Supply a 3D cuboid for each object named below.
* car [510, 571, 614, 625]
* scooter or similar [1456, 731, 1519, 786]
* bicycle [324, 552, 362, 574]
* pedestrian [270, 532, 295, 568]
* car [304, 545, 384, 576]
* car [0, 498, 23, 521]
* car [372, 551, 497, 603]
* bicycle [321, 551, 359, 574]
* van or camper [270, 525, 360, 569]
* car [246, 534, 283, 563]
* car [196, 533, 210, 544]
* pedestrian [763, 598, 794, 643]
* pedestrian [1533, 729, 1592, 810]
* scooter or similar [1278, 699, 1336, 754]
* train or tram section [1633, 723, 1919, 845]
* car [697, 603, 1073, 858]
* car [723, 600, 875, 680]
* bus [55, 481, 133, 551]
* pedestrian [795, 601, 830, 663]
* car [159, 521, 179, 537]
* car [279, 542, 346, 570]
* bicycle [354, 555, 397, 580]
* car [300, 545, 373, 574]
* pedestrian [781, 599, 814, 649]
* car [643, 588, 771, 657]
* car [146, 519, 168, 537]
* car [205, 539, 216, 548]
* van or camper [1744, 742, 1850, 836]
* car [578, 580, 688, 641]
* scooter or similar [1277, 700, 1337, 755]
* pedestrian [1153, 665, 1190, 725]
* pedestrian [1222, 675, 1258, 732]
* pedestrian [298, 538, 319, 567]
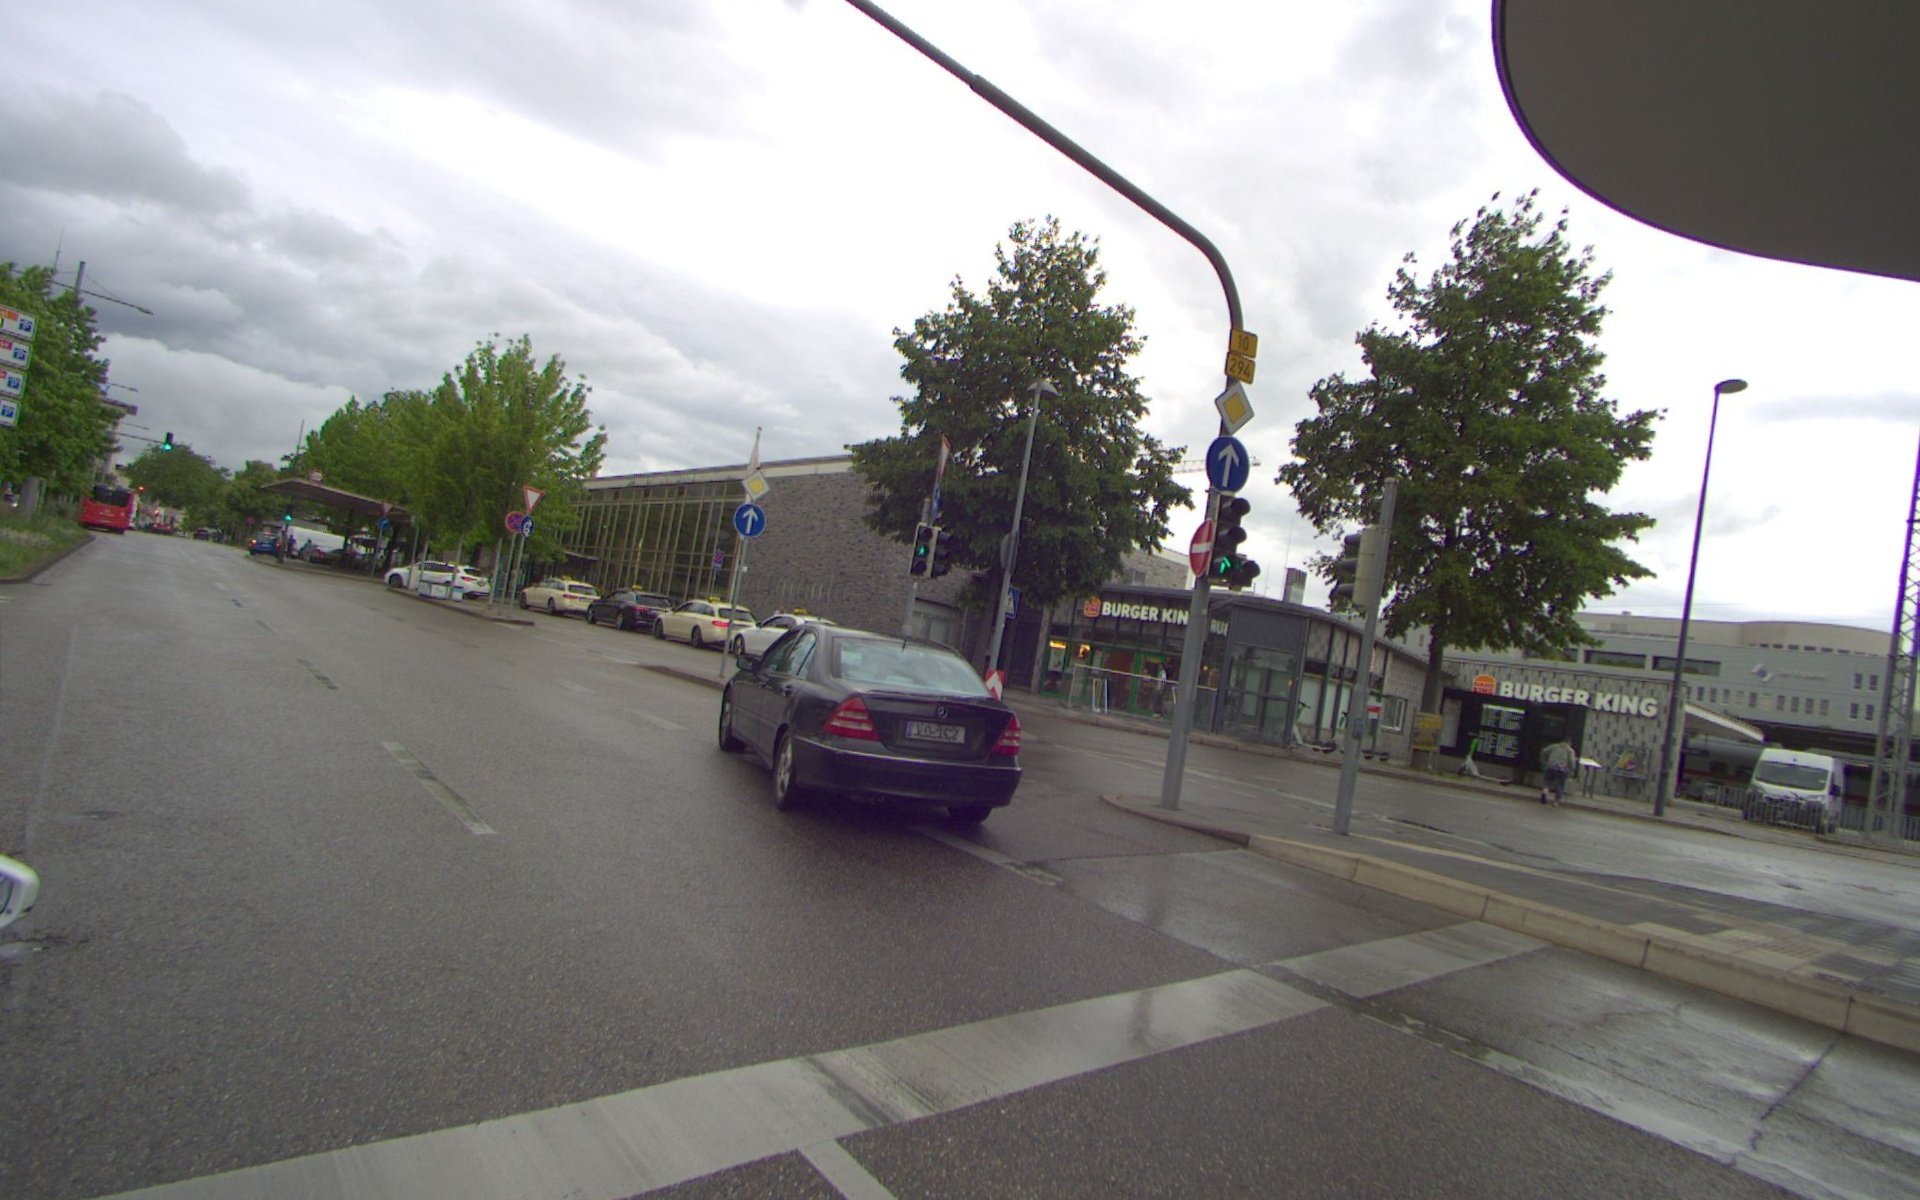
[{"bbox_3d":[-16.587,-0.109,41.769,4.892,1.618,1.991,6,-2,43],"label":"car"},{"bbox_3d":[13.493,4.054,25.761,1.280,1.196,0.334,7,-1,18],"label":"scooter or similar"},{"bbox_3d":[-36.535,-2.192,59.629,0.413,1.068,1.830,7,-2,32],"label":"bicycle"},{"bbox_3d":[-36.300,-2.671,53.919,0.825,1.766,0.745,6,-2,43],"label":"pedestrian"},{"bbox_3d":[-42.108,-2.655,68.855,1.809,1.339,4.197,6,-4,31],"label":"car"},{"bbox_3d":[-93.650,-8.931,98.545,1.984,2.037,4.950,8,-2,-37],"label":"car"},{"bbox_3d":[-23.302,-0.993,44.636,4.686,1.563,1.767,8,-2,11],"label":"car"},{"bbox_3d":[-36.896,-2.230,59.903,0.413,1.068,1.830,7,-2,32],"label":"bicycle"},{"bbox_3d":[-54.315,-4.416,84.929,2.159,2.794,5.968,7,-2,24],"label":"van or camper"},{"bbox_3d":[-47.328,-3.476,68.482,1.850,1.586,3.963,10,-4,-35],"label":"car"},{"bbox_3d":[-122.343,-9.921,162.514,1.588,1.578,3.611,9,-2,-39],"label":"car"},{"bbox_3d":[-6.990,0.799,38.762,0.766,1.598,0.702,8,-1,-43],"label":"pedestrian"},{"bbox_3d":[12.827,3.592,21.449,0.825,1.547,0.638,7,-1,21],"label":"pedestrian"},{"bbox_3d":[8.915,3.246,25.889,1.280,1.196,0.334,7,-1,18],"label":"scooter or similar"},{"bbox_3d":[50.992,10.460,49.860,4.573,4.230,28.993,9,-2,-39],"label":"train or tram section"},{"bbox_3d":[-0.963,0.930,8.782,1.679,1.482,4.427,8,-2,-25],"label":"car"},{"bbox_3d":[-4.558,1.065,27.869,1.872,1.618,4.851,9,-2,-39],"label":"car"},{"bbox_3d":[-61.003,-5.863,71.022,3.532,4.025,11.048,8,-2,-40],"label":"bus"},{"bbox_3d":[-5.510,1.189,37.615,0.713,2.189,0.793,6,-1,45],"label":"pedestrian"},{"bbox_3d":[-114.227,-10.239,145.258,1.985,2.037,3.958,9,-2,-39],"label":"car"},{"bbox_3d":[-51.258,-3.467,79.760,1.831,1.458,4.003,7,-3,24],"label":"car"},{"bbox_3d":[-31.032,-1.729,53.415,1.820,1.068,0.416,9,-2,-40],"label":"bicycle"},{"bbox_3d":[-44.361,-2.851,71.692,1.830,1.373,4.006,7,-3,20],"label":"car"},{"bbox_3d":[-5.635,0.845,34.912,0.782,1.645,0.723,7,-1,6],"label":"pedestrian"},{"bbox_3d":[-8.215,0.689,32.391,1.985,1.618,4.905,9,-2,-39],"label":"car"},{"bbox_3d":[-105.732,-9.430,132.436,1.985,2.037,3.958,9,-2,-39],"label":"car"},{"bbox_3d":[-153.635,-11.552,206.184,1.638,1.680,3.611,9,-2,-39],"label":"car"},{"bbox_3d":[27.586,6.130,33.063,2.137,2.461,5.836,6,-2,44],"label":"van or camper"},{"bbox_3d":[-12.133,0.342,37.121,1.988,1.617,4.903,11,-3,-40],"label":"car"},{"bbox_3d":[8.730,3.199,25.317,1.280,1.196,0.334,7,-1,18],"label":"scooter or similar"},{"bbox_3d":[6.353,2.841,30.203,0.764,1.688,0.645,5,0,29],"label":"pedestrian"},{"bbox_3d":[8.966,3.312,32.245,0.709,1.686,0.798,7,-1,-1],"label":"pedestrian"},{"bbox_3d":[-45.157,-3.285,69.717,0.853,1.856,1.177,9,-2,-39],"label":"pedestrian"}]
